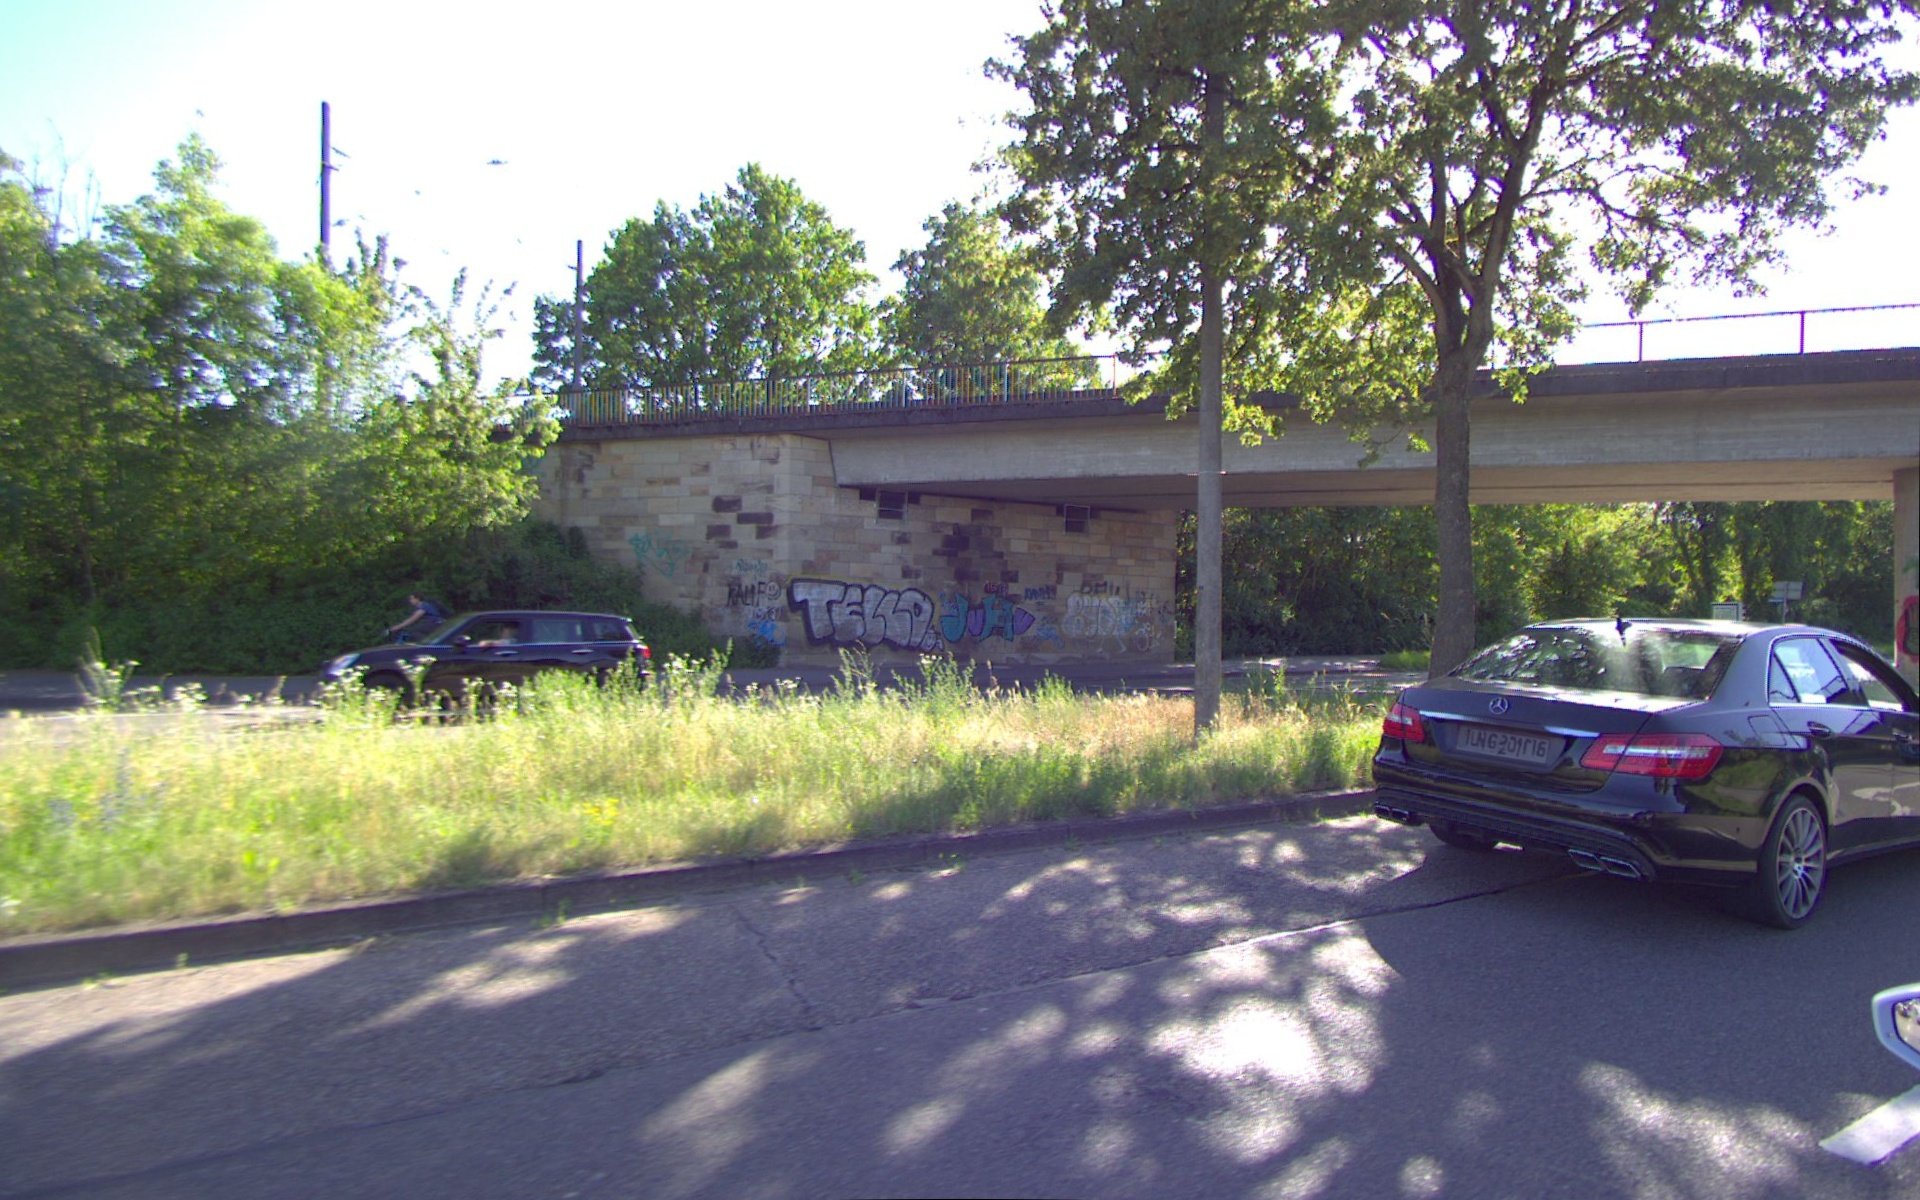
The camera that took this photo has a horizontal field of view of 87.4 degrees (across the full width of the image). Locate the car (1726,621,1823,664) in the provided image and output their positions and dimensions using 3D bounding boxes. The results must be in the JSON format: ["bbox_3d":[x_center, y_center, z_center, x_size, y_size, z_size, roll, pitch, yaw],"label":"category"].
[{"bbox_3d":[32.972,1.715,40.651,4.130,1.638,1.721,2,-2,-30],"label":"car"}]

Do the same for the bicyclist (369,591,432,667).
[{"bbox_3d":[-10.794,0.551,19.373,1.015,1.420,0.677,2,1,-30],"label":"bicyclist"}]

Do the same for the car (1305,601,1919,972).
[{"bbox_3d":[4.593,0.821,6.174,4.859,1.502,1.950,1,0,-30],"label":"car"}]

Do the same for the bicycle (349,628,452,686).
[{"bbox_3d":[-10.786,1.096,19.393,1.694,1.044,0.680,2,1,-30],"label":"bicycle"}]

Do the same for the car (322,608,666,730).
[{"bbox_3d":[-6.307,0.888,13.812,4.042,1.461,1.808,2,-1,-30],"label":"car"}]
